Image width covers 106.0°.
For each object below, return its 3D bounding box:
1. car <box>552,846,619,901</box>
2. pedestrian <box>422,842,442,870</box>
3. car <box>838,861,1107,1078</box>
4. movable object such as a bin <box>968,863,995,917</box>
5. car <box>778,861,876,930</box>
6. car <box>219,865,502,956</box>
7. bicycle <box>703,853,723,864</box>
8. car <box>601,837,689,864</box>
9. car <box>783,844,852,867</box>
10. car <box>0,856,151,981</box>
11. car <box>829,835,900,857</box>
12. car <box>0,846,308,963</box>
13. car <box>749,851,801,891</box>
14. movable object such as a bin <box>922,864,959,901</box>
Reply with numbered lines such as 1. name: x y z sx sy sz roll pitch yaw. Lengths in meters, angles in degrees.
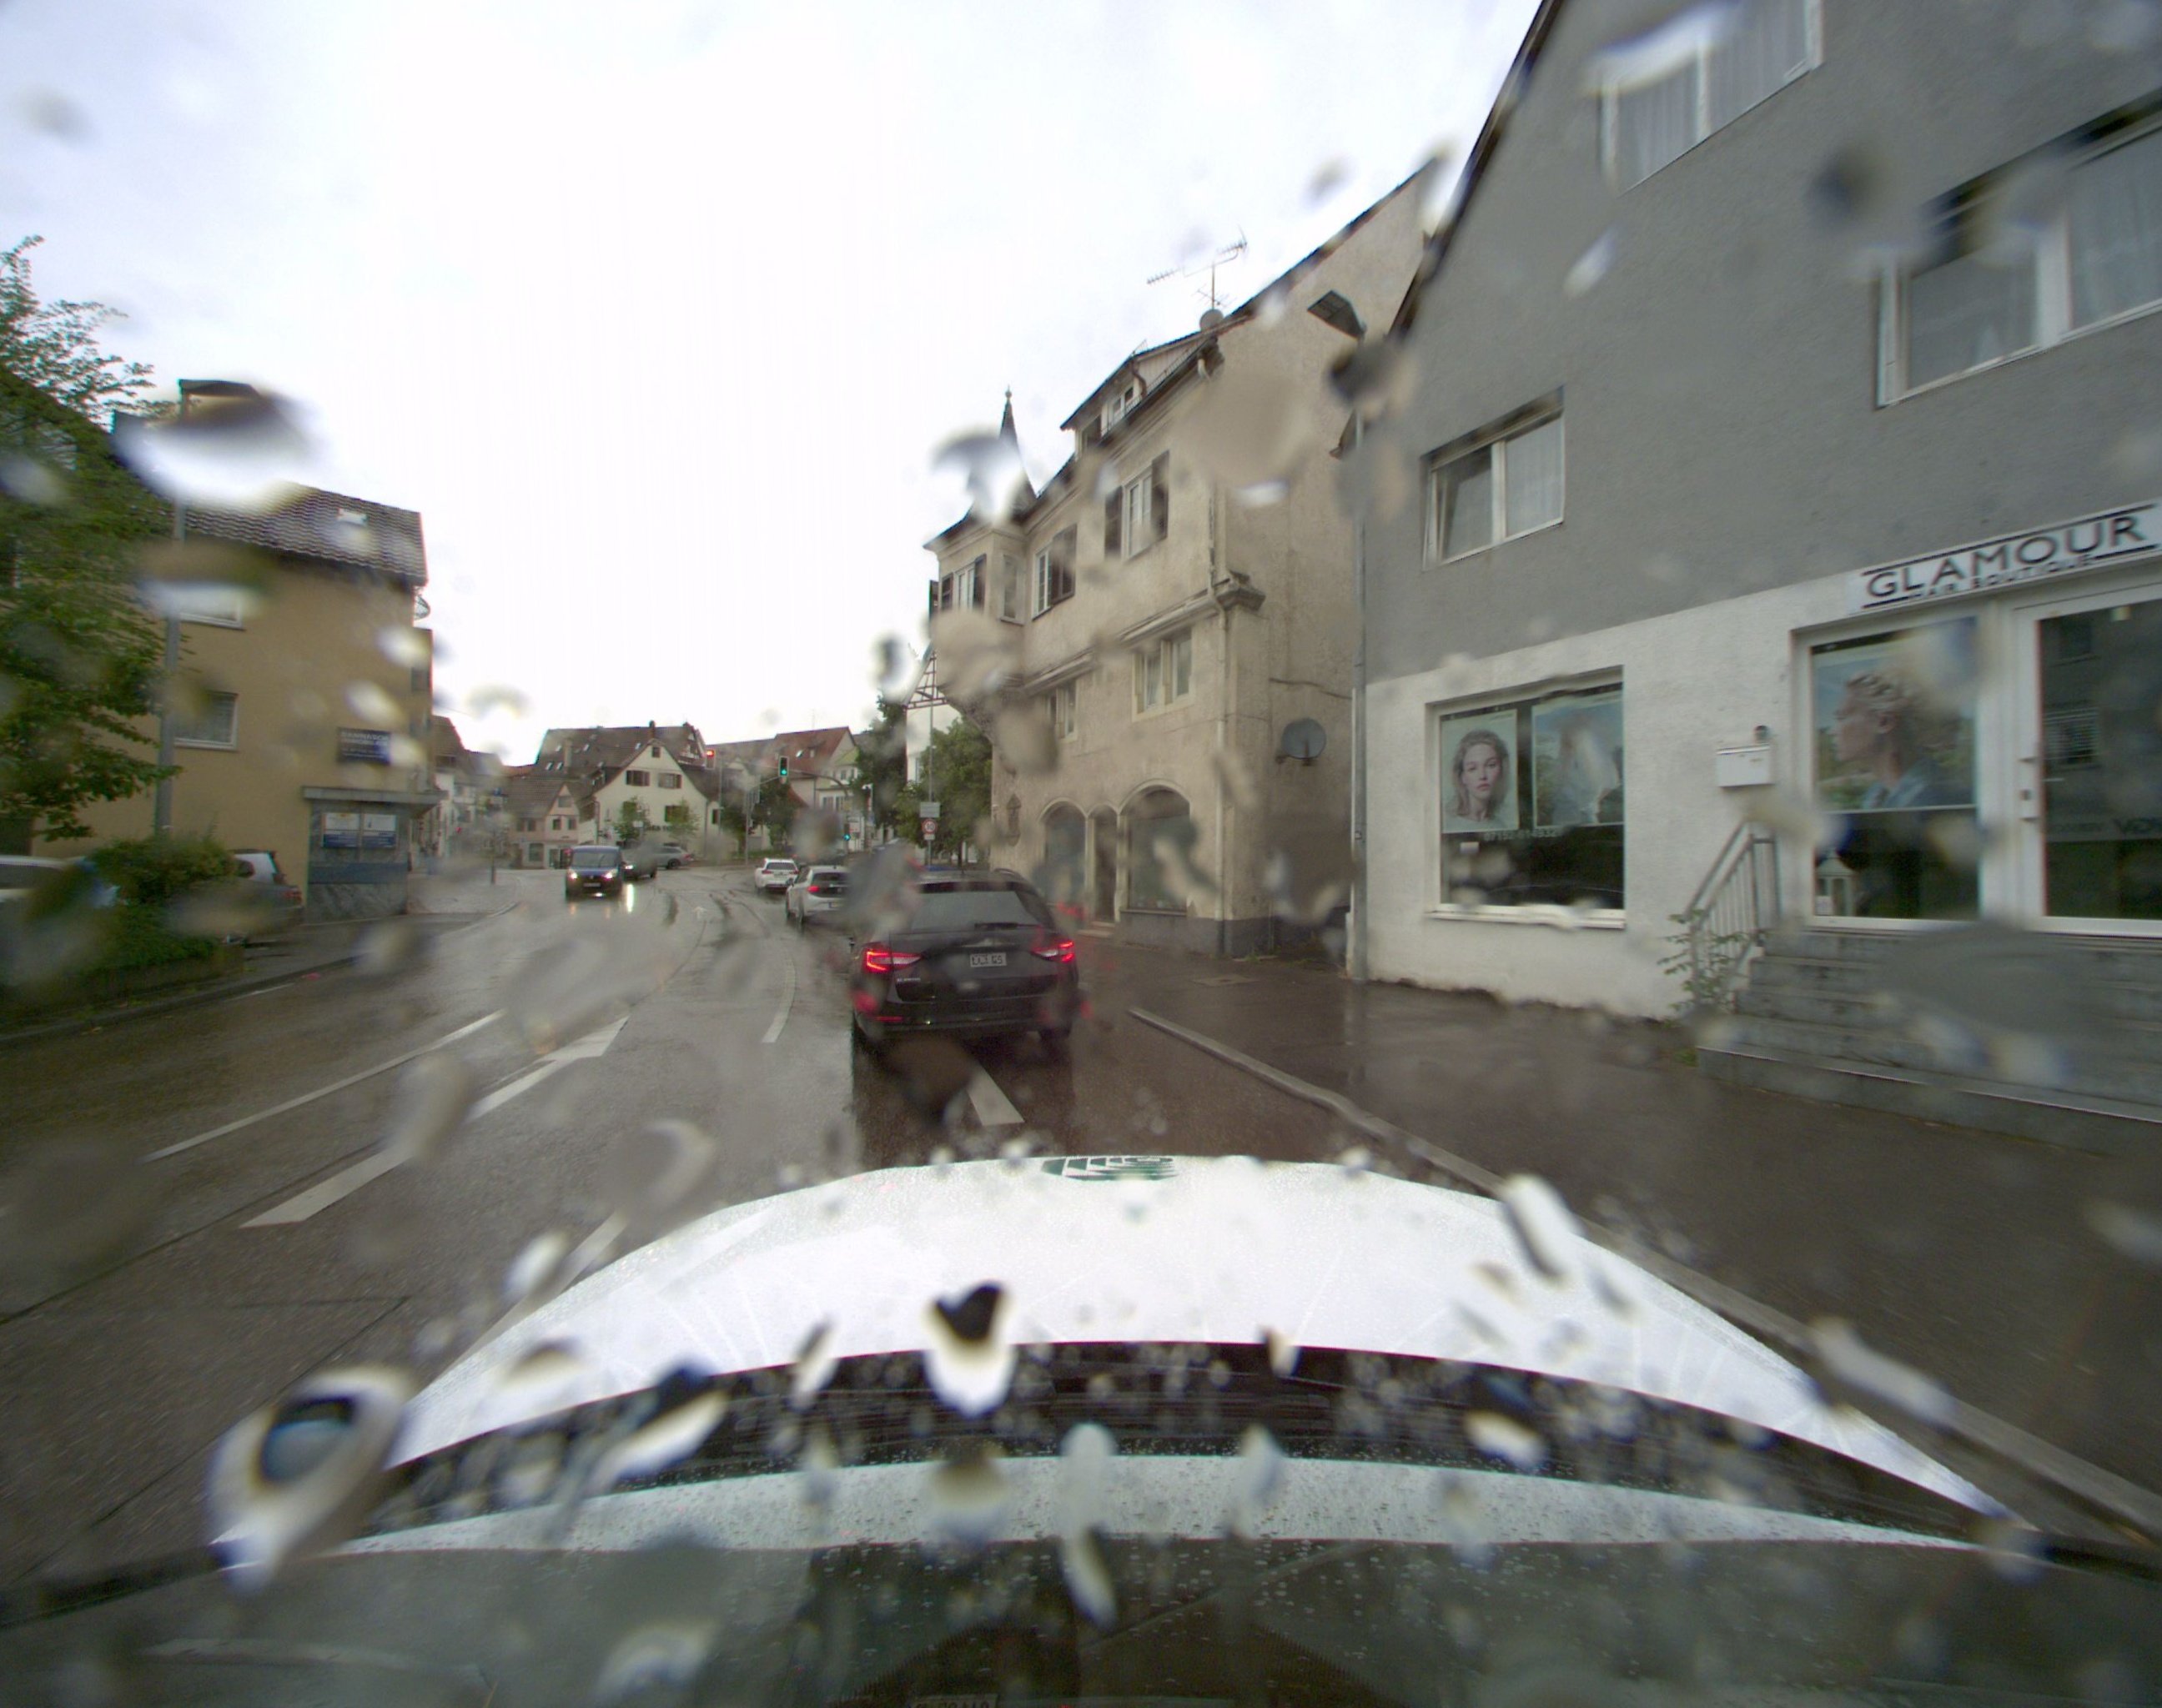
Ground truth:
1. car: -18.846 0.674 30.909 2.008 1.881 4.332 0 1 -34
2. pedestrian: -43.527 0.112 54.595 0.705 1.830 0.804 1 3 34
3. car: -1.304 0.827 7.811 1.890 1.448 4.333 0 -2 -16
4. movable object such as a bin: -2.756 0.973 22.559 0.636 1.442 0.416 2 2 41
5. car: -7.197 1.070 22.796 1.867 1.472 3.965 -4 4 -28
6. car: -14.083 0.993 16.101 1.876 1.453 4.024 1 1 44
7. bicycle: -29.925 0.367 66.177 0.388 0.912 1.479 4 2 32
8. car: -27.141 -0.213 50.781 4.502 1.591 1.977 0 1 -40
9. car: -15.934 0.048 49.427 1.977 1.302 4.019 1 1 19
10. car: -15.220 0.843 10.797 1.974 1.629 3.668 0 -1 38
11. car: -16.032 -0.598 60.520 4.773 1.588 1.809 0 1 -40
12. car: -19.543 0.952 16.887 4.964 1.824 1.939 -6 6 -44
13. car: -13.482 0.690 35.725 1.894 1.596 4.292 0 1 -24
14. movable object such as a bin: -5.151 1.036 29.791 1.158 1.313 1.178 1 -1 -19
